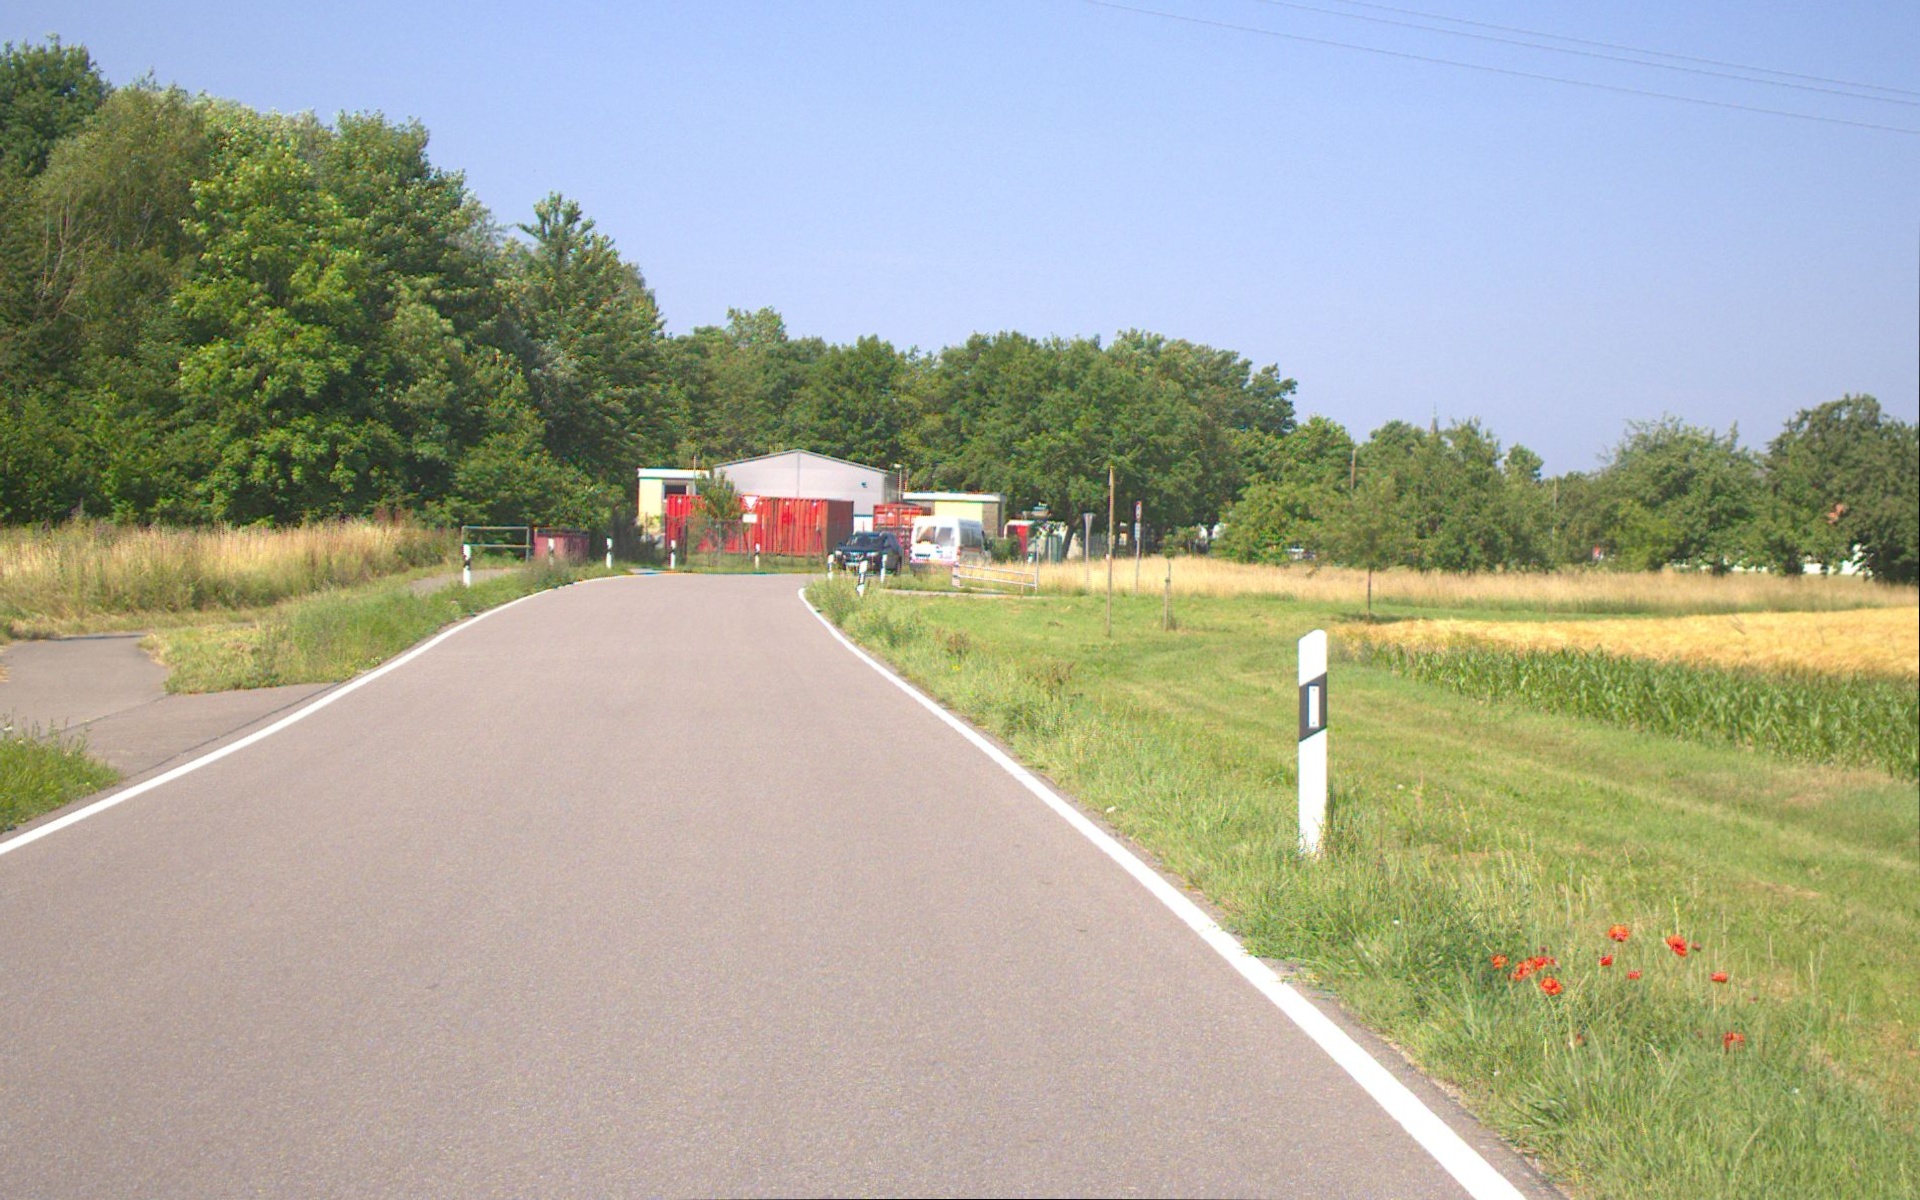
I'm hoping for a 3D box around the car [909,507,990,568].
[{"bbox_3d":[-0.392,-2.429,134.119,1.995,2.258,4.723,2,1,14],"label":"car"}]

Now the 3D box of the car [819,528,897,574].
[{"bbox_3d":[-3.990,-1.927,135.137,1.867,1.747,4.294,2,1,15],"label":"car"}]
